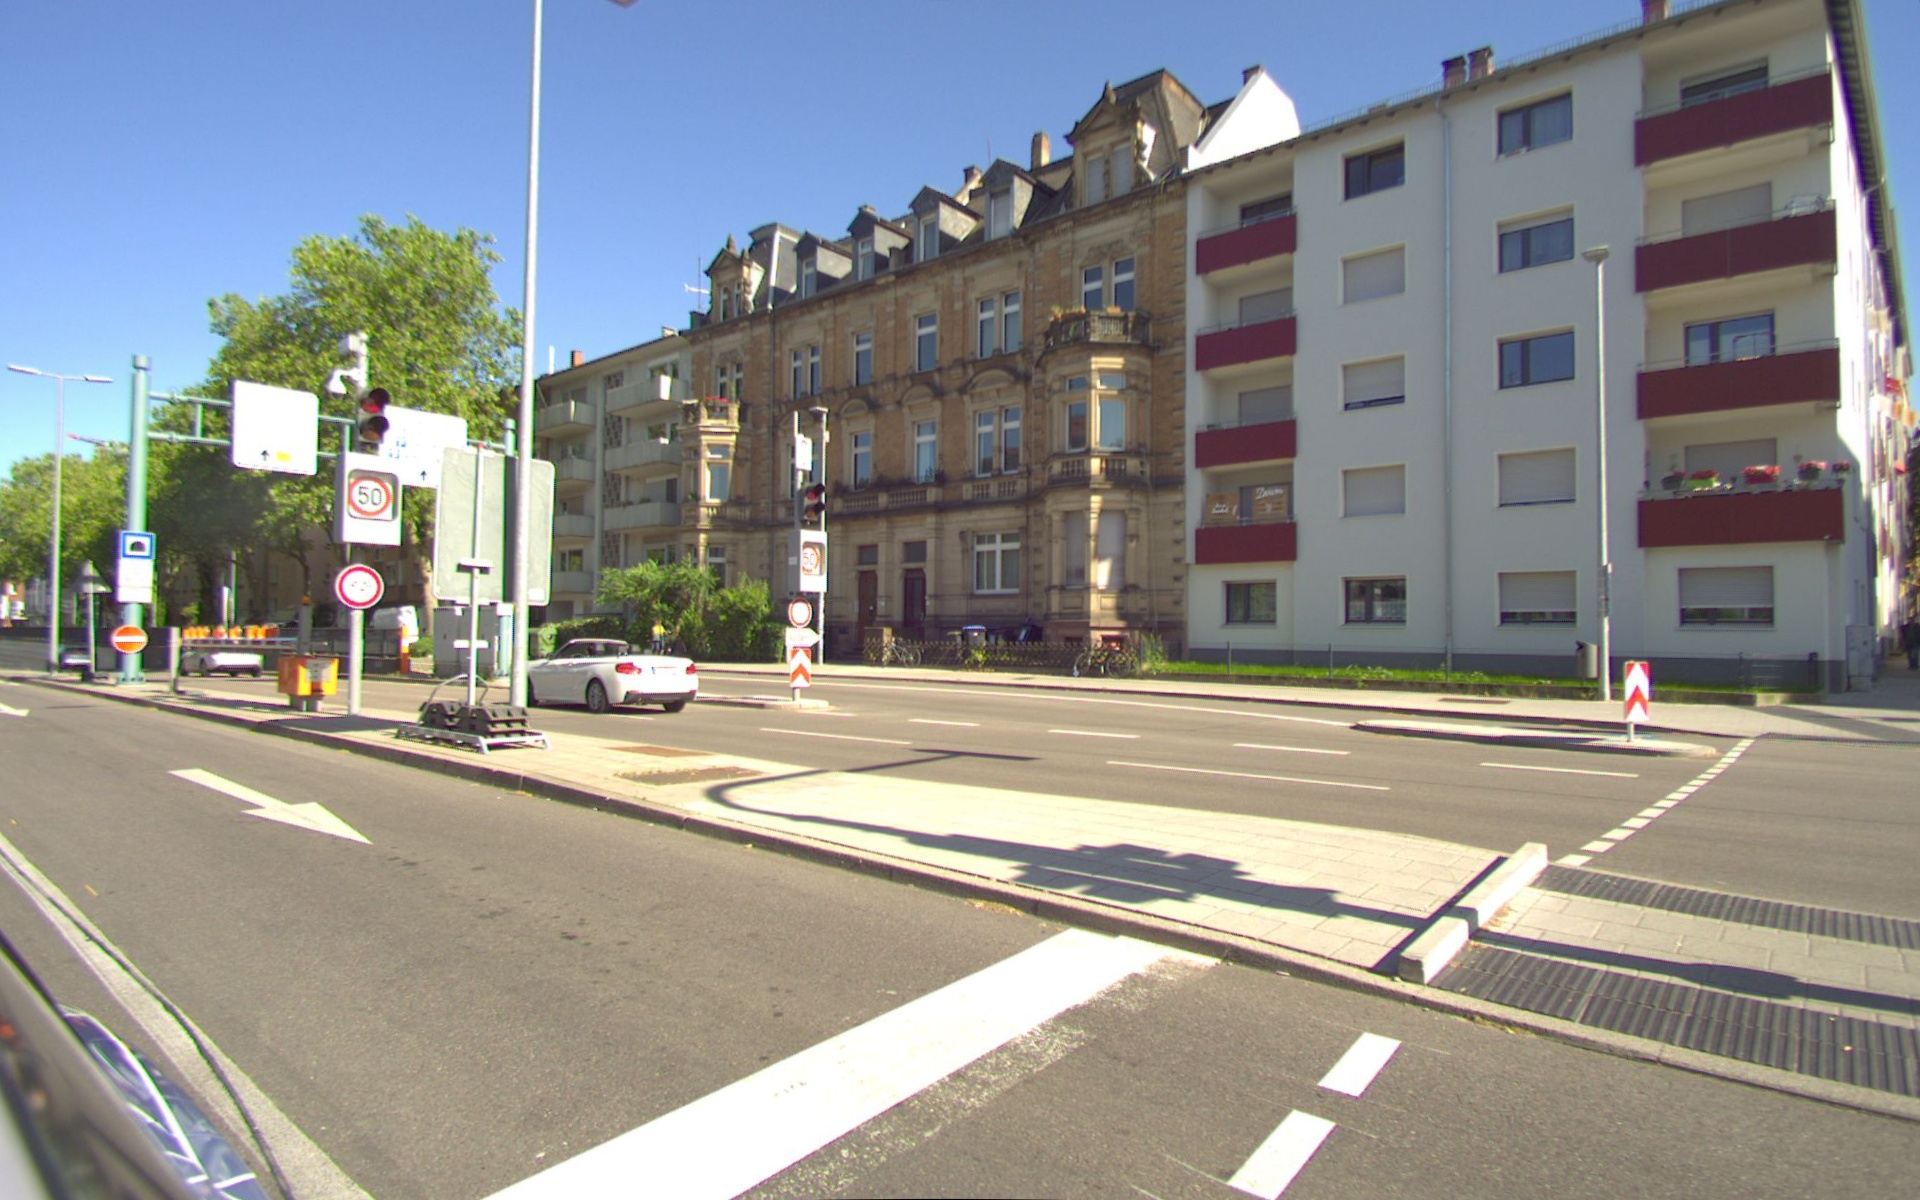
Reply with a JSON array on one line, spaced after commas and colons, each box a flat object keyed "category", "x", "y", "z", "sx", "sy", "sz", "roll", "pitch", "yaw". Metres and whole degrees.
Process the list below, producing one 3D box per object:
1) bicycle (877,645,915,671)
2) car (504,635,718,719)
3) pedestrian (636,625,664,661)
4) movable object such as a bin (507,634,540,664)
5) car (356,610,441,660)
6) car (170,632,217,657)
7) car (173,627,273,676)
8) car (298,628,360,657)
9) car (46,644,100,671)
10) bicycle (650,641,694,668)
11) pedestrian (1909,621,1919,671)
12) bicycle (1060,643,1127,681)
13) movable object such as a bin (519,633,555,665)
[{"category": "bicycle", "x": -2.016, "y": 1.827, "z": 31.931, "sx": 1.413, "sy": 0.777, "sz": 0.296, "roll": -2, "pitch": -3, "yaw": 42}, {"category": "car", "x": -6.711, "y": 1.376, "z": 19.264, "sx": 4.313, "sy": 1.356, "sz": 1.911, "roll": -1, "pitch": -2, "yaw": 40}, {"category": "pedestrian", "x": -12.153, "y": 1.678, "z": 39.681, "sx": 1.089, "sy": 1.388, "sz": 0.560, "roll": -2, "pitch": -3, "yaw": 39}, {"category": "movable object such as a bin", "x": -20.104, "y": 2.274, "z": 46.630, "sx": 1.313, "sy": 1.373, "sz": 0.884, "roll": -3, "pitch": -6, "yaw": 40}, {"category": "car", "x": -29.772, "y": 1.931, "z": 53.581, "sx": 5.284, "sy": 2.465, "sz": 2.221, "roll": -4, "pitch": -6, "yaw": 42}, {"category": "car", "x": -48.064, "y": 2.768, "z": 63.454, "sx": 3.688, "sy": 1.498, "sz": 1.611, "roll": -2, "pitch": -2, "yaw": 41}, {"category": "car", "x": -27.216, "y": 1.915, "z": 37.312, "sx": 4.387, "sy": 1.464, "sz": 1.973, "roll": -6, "pitch": -3, "yaw": 40}, {"category": "car", "x": -37.705, "y": 2.560, "z": 60.445, "sx": 3.998, "sy": 1.592, "sz": 1.972, "roll": -3, "pitch": -6, "yaw": 41}, {"category": "car", "x": -50.474, "y": 3.270, "z": 57.563, "sx": 4.308, "sy": 1.452, "sz": 1.590, "roll": -2, "pitch": -6, "yaw": 40}, {"category": "bicycle", "x": -11.337, "y": 2.146, "z": 39.762, "sx": 2.247, "sy": 1.013, "sz": 0.462, "roll": -2, "pitch": -2, "yaw": 39}, {"category": "pedestrian", "x": 29.468, "y": 1.403, "z": 30.898, "sx": 0.695, "sy": 1.508, "sz": 0.593, "roll": -2, "pitch": -3, "yaw": 44}, {"category": "bicycle", "x": 3.559, "y": 1.644, "z": 27.069, "sx": 1.939, "sy": 0.965, "sz": 0.301, "roll": -2, "pitch": -3, "yaw": 41}, {"category": "movable object such as a bin", "x": -19.093, "y": 2.221, "z": 45.672, "sx": 1.473, "sy": 1.371, "sz": 0.883, "roll": -4, "pitch": -6, "yaw": 42}]
